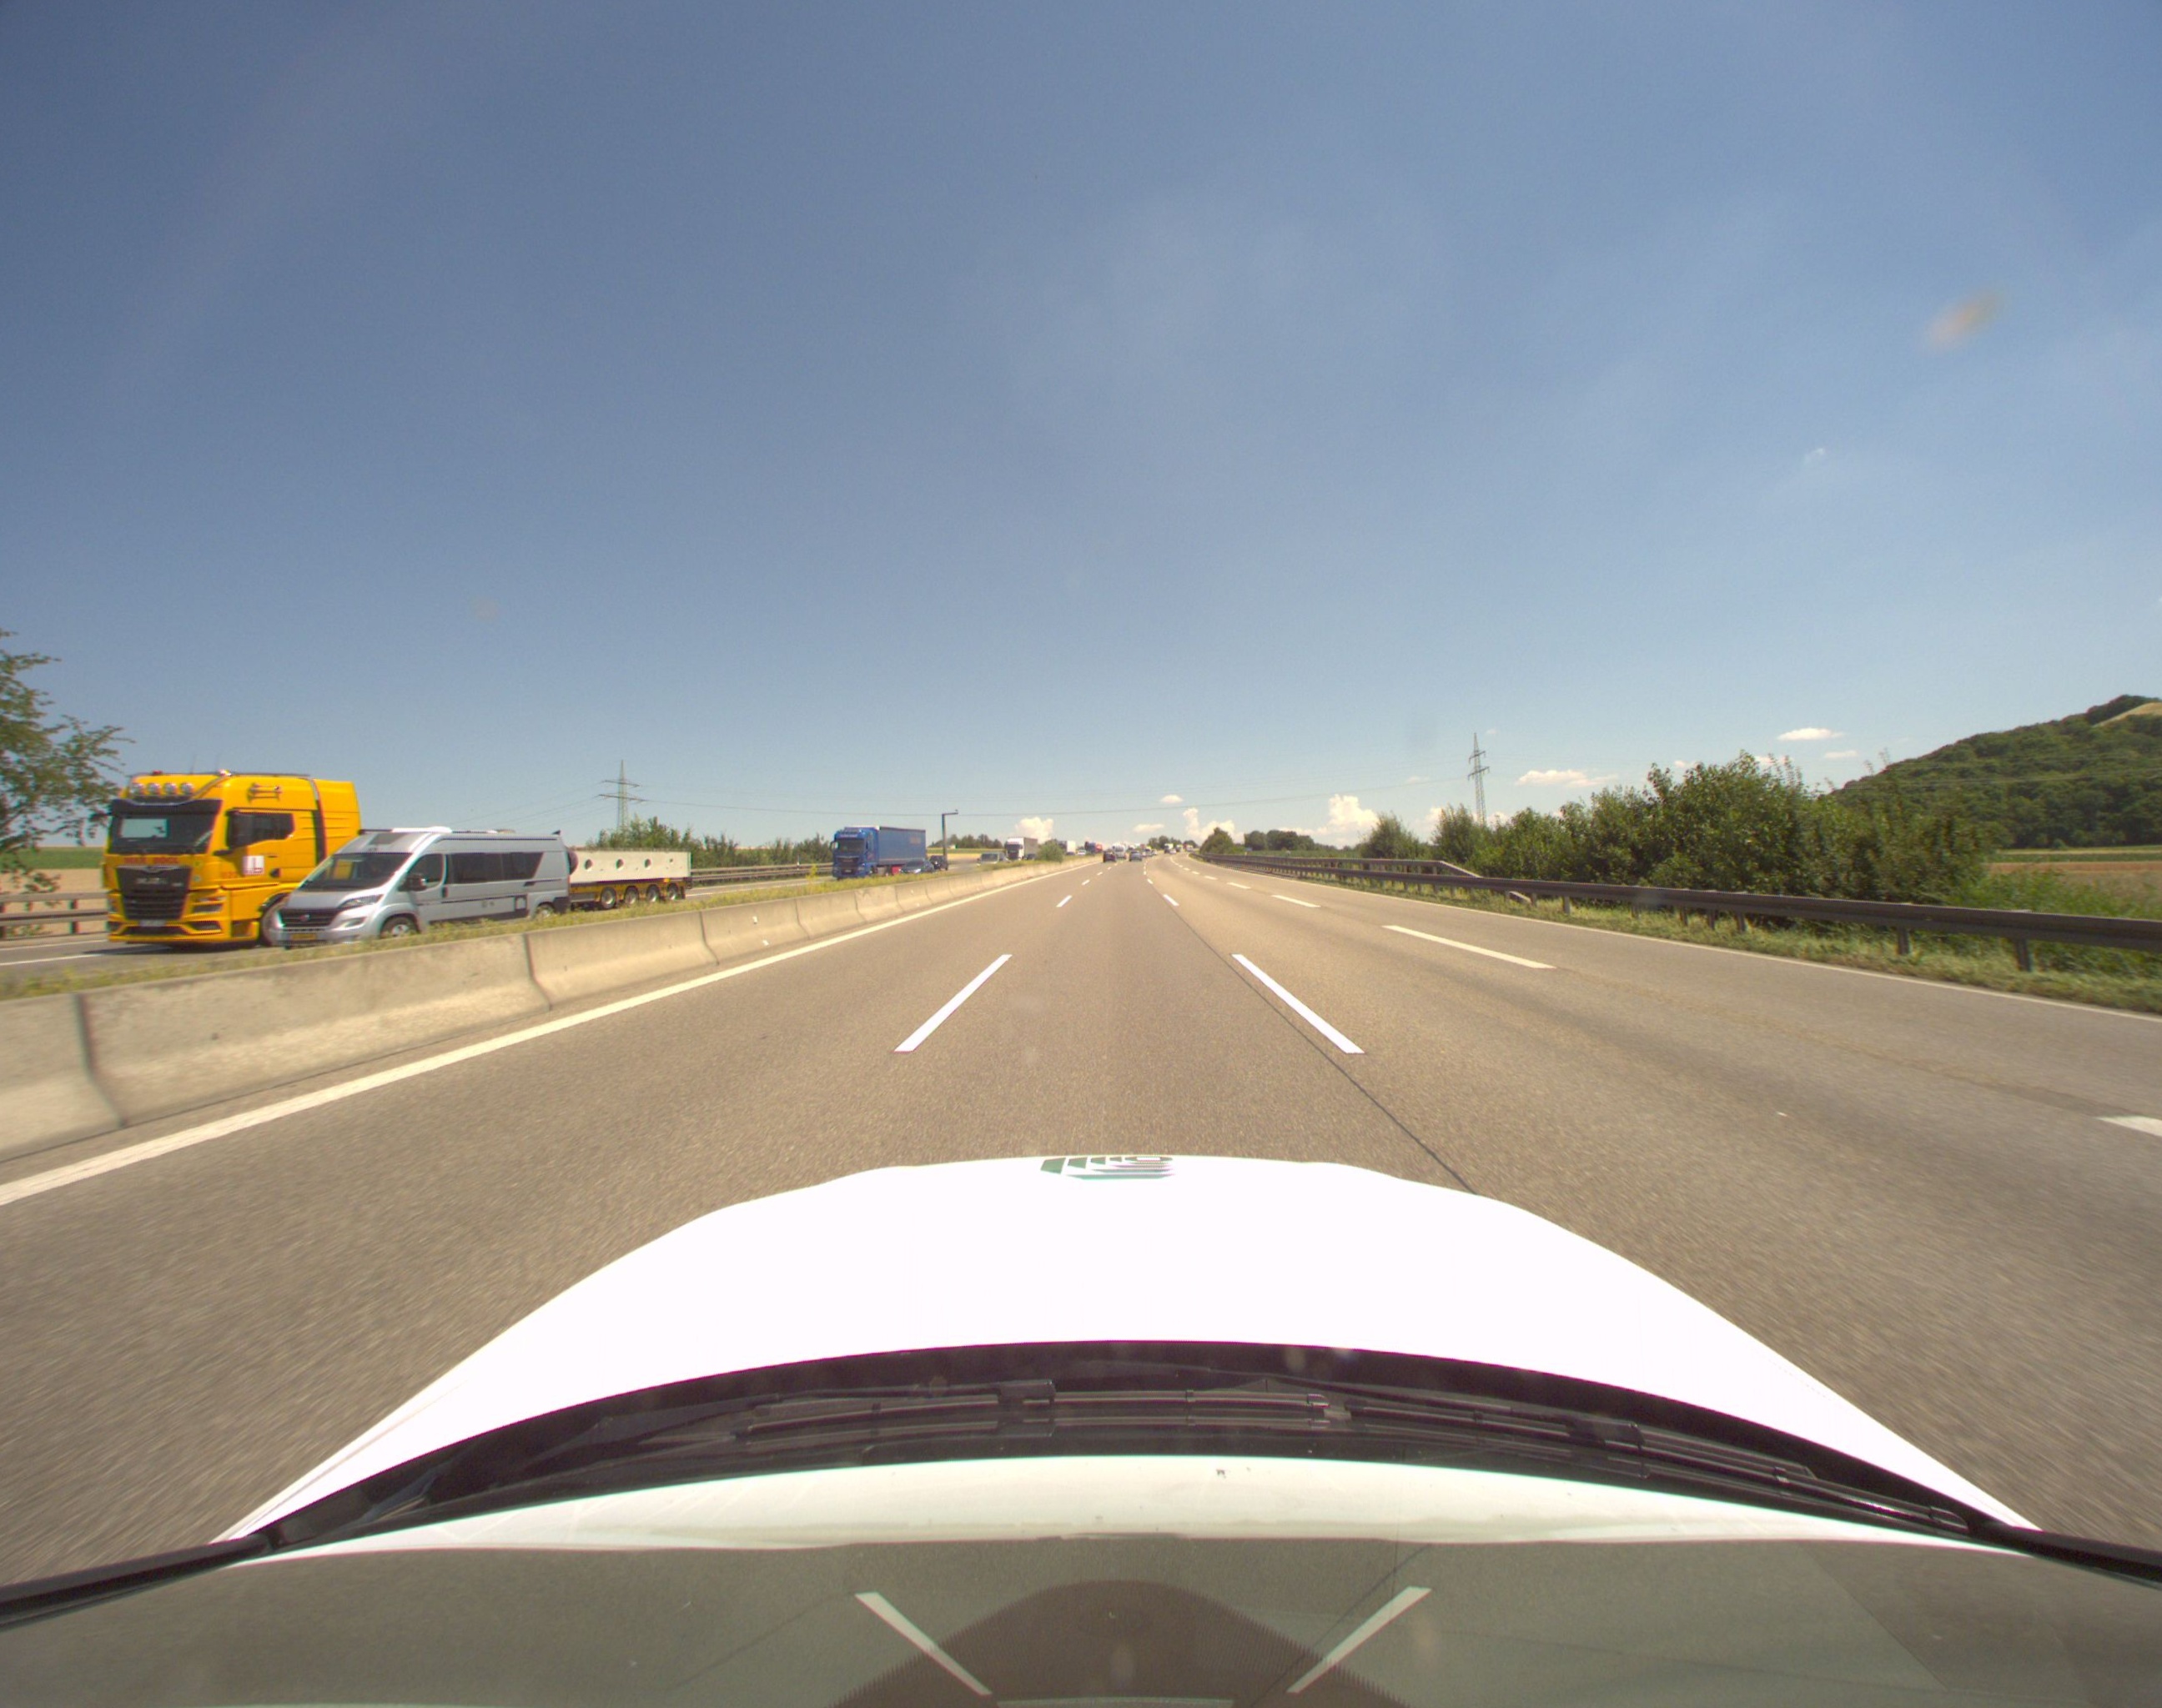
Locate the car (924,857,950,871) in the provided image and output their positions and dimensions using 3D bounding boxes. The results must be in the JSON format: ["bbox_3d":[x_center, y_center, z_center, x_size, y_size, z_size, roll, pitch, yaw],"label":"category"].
[{"bbox_3d":[-14.981,1.039,84.746,1.650,1.385,4.355,-1,0,4],"label":"car"}]

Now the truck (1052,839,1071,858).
[{"bbox_3d":[-4.448,-1.250,185.805,3.209,4.206,7.139,-1,0,7],"label":"truck"}]

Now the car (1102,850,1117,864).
[{"bbox_3d":[4.085,0.405,115.420,1.838,1.861,4.212,-1,1,5],"label":"car"}]

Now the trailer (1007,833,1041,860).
[{"bbox_3d":[-9.493,-1.200,138.746,3.107,4.324,14.571,-1,0,6],"label":"trailer"}]

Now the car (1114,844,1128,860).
[{"bbox_3d":[7.031,-0.335,143.289,2.169,2.625,4.679,-1,-2,6],"label":"car"}]

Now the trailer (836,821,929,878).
[{"bbox_3d":[-15.877,-0.303,66.878,3.147,4.194,14.396,0,0,4],"label":"trailer"}]

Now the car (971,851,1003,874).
[{"bbox_3d":[-8.116,0.714,70.758,1.906,1.970,5.450,-1,0,2],"label":"car"}]

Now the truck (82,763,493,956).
[{"bbox_3d":[-18.489,0.107,19.874,2.739,3.837,7.105,-1,0,4],"label":"truck"}]

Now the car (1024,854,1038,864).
[{"bbox_3d":[-7.422,0.706,121.169,1.618,1.404,3.731,-1,0,1],"label":"car"}]

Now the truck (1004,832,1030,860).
[{"bbox_3d":[-10.331,-1.302,131.862,3.116,4.328,6.157,-1,0,6],"label":"truck"}]

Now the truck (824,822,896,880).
[{"bbox_3d":[-16.330,-0.213,60.673,3.063,4.090,6.942,-1,0,3],"label":"truck"}]

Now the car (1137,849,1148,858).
[{"bbox_3d":[12.500,-0.051,165.158,1.986,1.585,4.002,-2,-1,2],"label":"car"}]

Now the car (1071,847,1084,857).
[{"bbox_3d":[-0.611,-0.299,161.581,1.984,1.904,5.684,-1,0,5],"label":"car"}]

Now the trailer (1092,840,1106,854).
[{"bbox_3d":[5.438,-2.056,243.226,2.823,3.958,13.758,-1,0,8],"label":"trailer"}]

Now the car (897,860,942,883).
[{"bbox_3d":[-11.806,1.243,59.749,1.906,1.541,5.746,-1,0,2],"label":"car"}]

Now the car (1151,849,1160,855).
[{"bbox_3d":[19.673,-0.451,215.036,1.982,1.552,4.010,0,1,8],"label":"car"}]

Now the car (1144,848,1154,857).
[{"bbox_3d":[15.285,-0.303,183.264,1.985,1.904,4.004,-1,-2,4],"label":"car"}]

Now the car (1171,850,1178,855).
[{"bbox_3d":[28.286,-0.585,246.825,1.891,1.442,4.010,-1,0,9],"label":"car"}]

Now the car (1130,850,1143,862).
[{"bbox_3d":[8.344,0.310,122.280,1.985,1.750,4.003,-1,-2,4],"label":"car"}]

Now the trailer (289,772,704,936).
[{"bbox_3d":[-18.074,-0.030,27.720,2.940,4.100,14.396,-1,0,4],"label":"trailer"}]

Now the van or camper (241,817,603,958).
[{"bbox_3d":[-14.333,0.633,18.693,2.302,2.586,7.146,-1,0,2],"label":"van or camper"}]
